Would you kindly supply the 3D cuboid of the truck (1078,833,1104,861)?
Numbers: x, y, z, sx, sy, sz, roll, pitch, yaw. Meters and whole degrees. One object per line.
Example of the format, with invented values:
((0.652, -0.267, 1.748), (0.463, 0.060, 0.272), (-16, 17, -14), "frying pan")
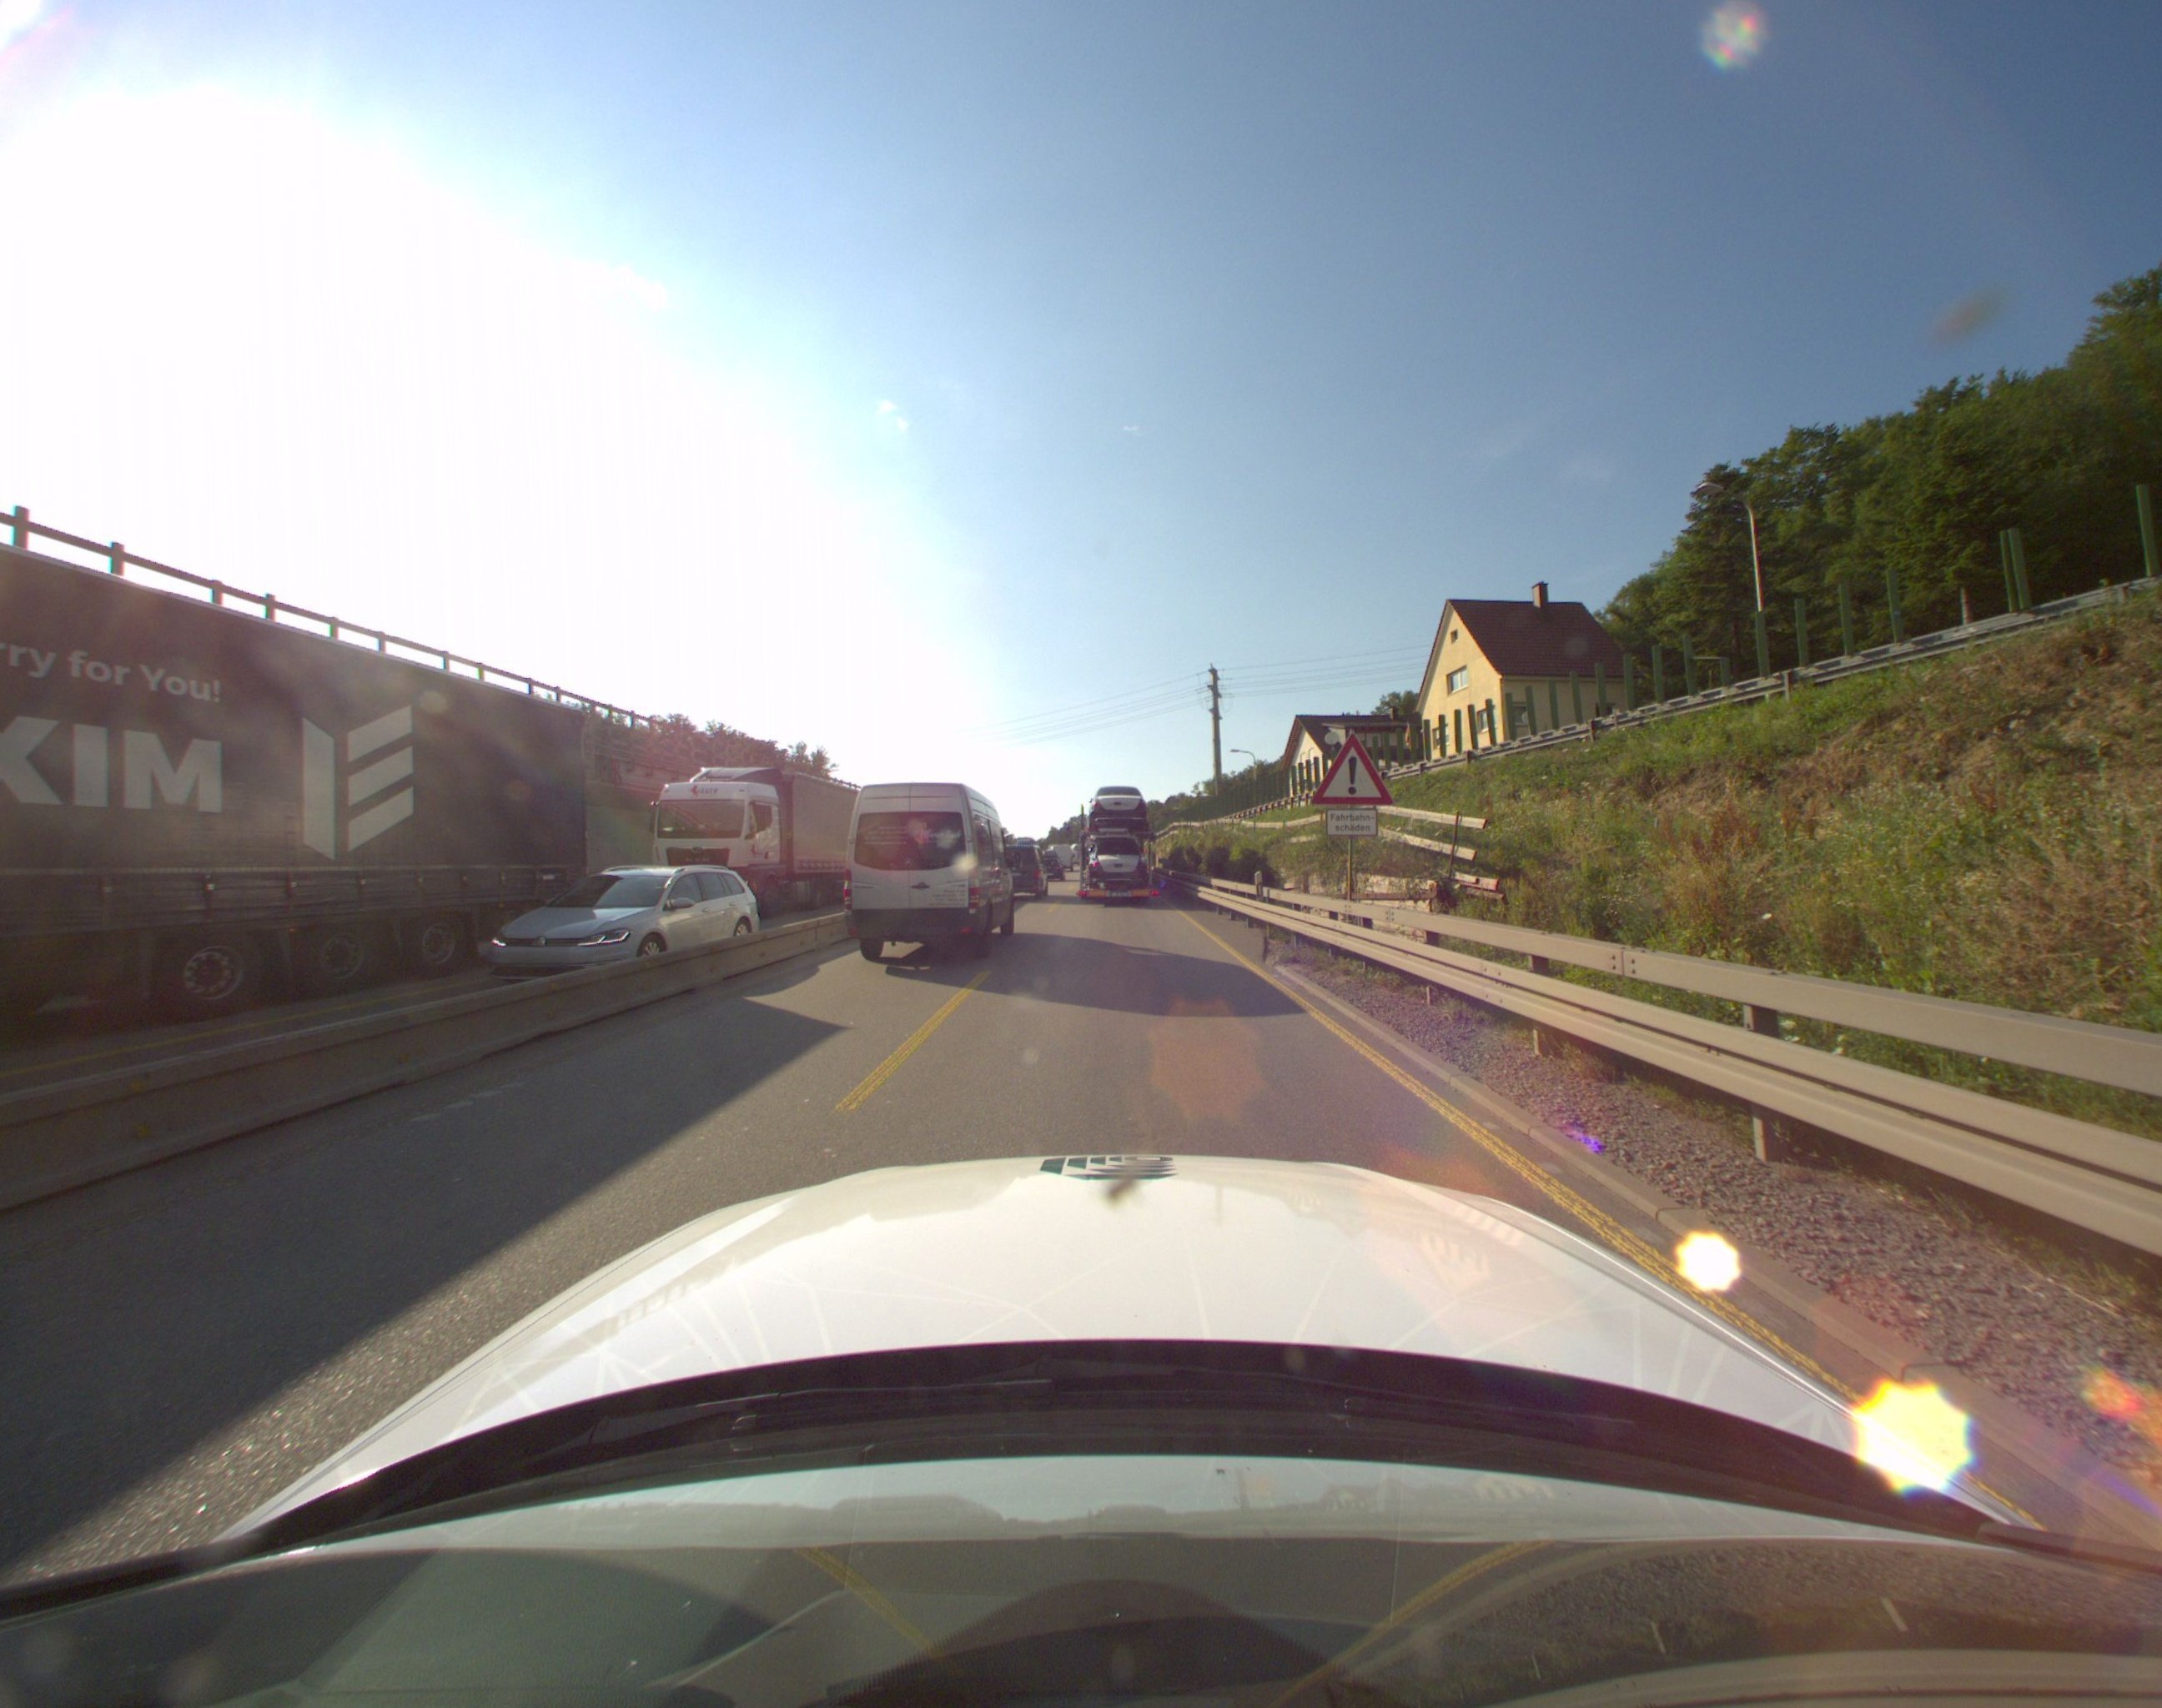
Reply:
((1.875, -1.101, 142.985), (4.049, 4.679, 10.597), (-1, 0, 2), "truck")

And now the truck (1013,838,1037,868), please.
((-8.168, -0.129, 119.494), (2.616, 4.112, 9.625), (-4, 0, 0), "truck")

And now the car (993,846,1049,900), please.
((-2.203, 0.718, 30.753), (1.802, 1.904, 3.999), (0, -1, 0), "car")

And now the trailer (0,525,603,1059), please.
((-9.735, -0.477, 6.916), (2.754, 4.141, 14.029), (0, 0, 1), "trailer")

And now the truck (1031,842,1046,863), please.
((-8.883, -0.199, 171.987), (2.975, 4.153, 15.842), (-1, 0, -2), "truck")

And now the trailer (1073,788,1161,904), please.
((1.372, -0.122, 32.710), (2.672, 3.535, 15.293), (-1, -1, 2), "trailer")

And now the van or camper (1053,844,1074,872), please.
((-1.658, 0.428, 79.690), (1.962, 2.592, 5.040), (0, -1, 0), "van or camper")

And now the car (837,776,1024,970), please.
((-2.294, 0.269, 14.126), (1.986, 2.648, 5.532), (-2, 0, 2), "car")

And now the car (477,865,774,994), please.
((-6.059, 0.901, 11.592), (1.635, 1.459, 4.595), (0, -1, 0), "car")

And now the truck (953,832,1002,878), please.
((-8.358, 0.142, 66.897), (2.705, 3.424, 8.141), (-4, -1, 1), "truck")

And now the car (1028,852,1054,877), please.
((-4.196, 1.105, 85.802), (2.463, 2.534, 4.000), (-1, -1, 1), "car")

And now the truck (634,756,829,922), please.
((-9.366, -0.311, 22.619), (2.850, 4.008, 5.659), (0, -1, 1), "truck")

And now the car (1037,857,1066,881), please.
((-1.930, 0.977, 53.974), (1.720, 1.522, 3.973), (0, 0, 0), "car")

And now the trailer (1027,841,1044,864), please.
((-8.479, -0.236, 153.060), (2.702, 4.092, 12.561), (-2, 0, -2), "trailer")

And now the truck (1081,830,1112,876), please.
((1.632, -0.073, 87.504), (2.899, 4.606, 7.281), (-1, 0, -1), "truck")

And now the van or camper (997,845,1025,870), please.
((-8.035, 0.406, 94.015), (2.304, 2.662, 6.456), (-3, 0, 1), "van or camper")

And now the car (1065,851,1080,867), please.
((-1.178, 0.693, 109.140), (1.879, 2.100, 3.766), (-1, 0, 1), "car")

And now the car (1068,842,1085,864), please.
((-1.038, -0.241, 191.067), (3.437, 5.035, 9.642), (-1, 0, -3), "car")

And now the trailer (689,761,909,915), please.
((-9.246, -0.313, 29.388), (2.903, 4.240, 13.770), (0, -1, 1), "trailer")

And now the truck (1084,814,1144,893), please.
((1.591, 0.015, 40.277), (2.672, 3.535, 7.196), (-1, -1, 2), "truck")
